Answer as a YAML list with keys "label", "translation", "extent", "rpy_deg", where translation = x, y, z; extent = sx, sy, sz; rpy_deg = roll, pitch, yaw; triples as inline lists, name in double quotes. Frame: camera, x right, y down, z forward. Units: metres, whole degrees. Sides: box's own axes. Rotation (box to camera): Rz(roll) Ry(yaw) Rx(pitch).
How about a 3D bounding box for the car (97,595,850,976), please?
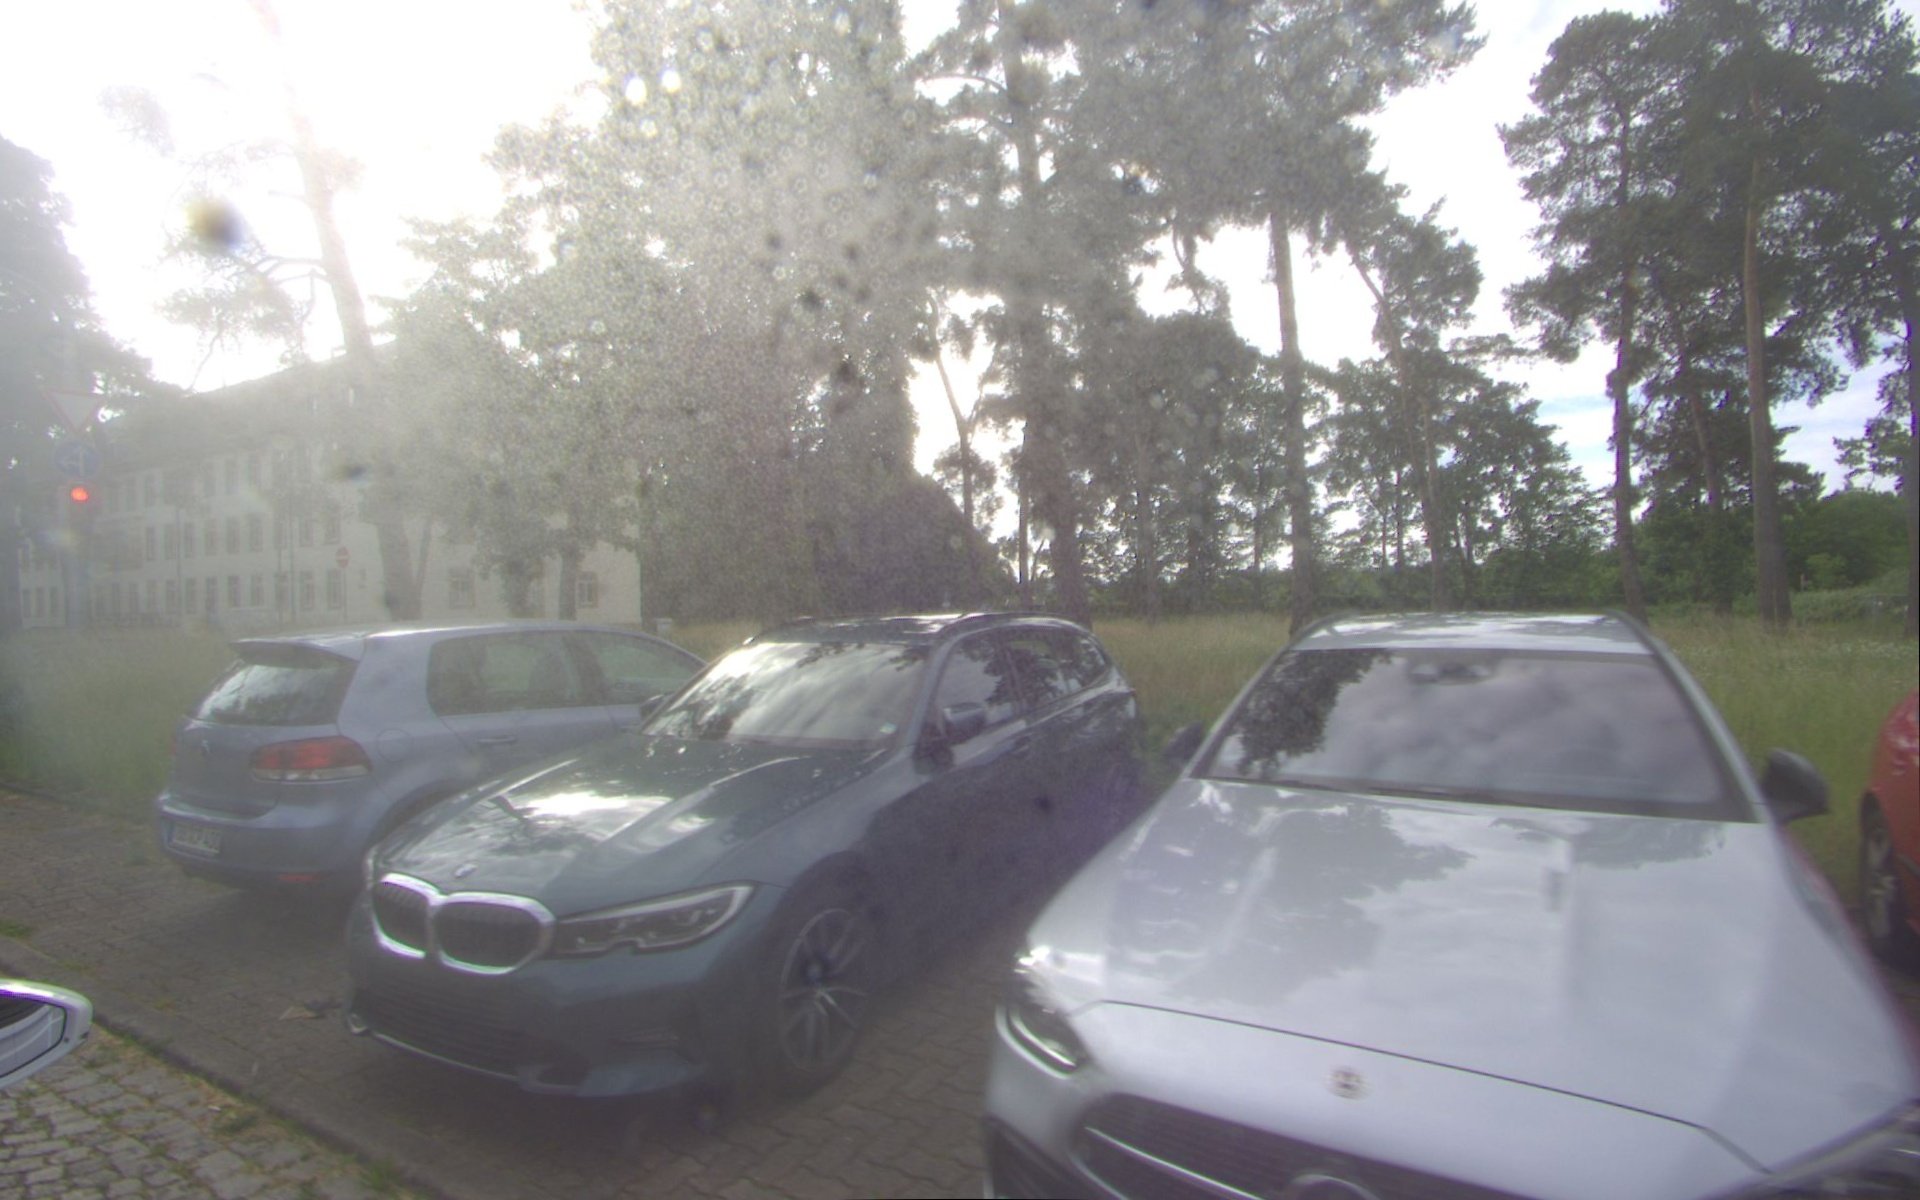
- label: "car"
  translation: [-2.568, 0.770, 6.227]
  extent: [1.619, 1.497, 3.916]
  rpy_deg: [0, 1, 33]

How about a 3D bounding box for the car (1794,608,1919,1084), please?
- label: "car"
  translation: [3.714, 0.802, 2.514]
  extent: [1.844, 1.436, 4.253]
  rpy_deg: [0, 1, 31]

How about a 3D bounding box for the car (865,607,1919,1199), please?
- label: "car"
  translation: [1.695, 0.817, 3.331]
  extent: [1.842, 1.436, 4.415]
  rpy_deg: [-1, 1, 29]

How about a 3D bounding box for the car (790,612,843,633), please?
- label: "car"
  translation: [-10.509, 1.669, 73.565]
  extent: [1.628, 1.439, 3.940]
  rpy_deg: [-1, -3, 34]

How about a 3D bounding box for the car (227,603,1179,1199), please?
- label: "car"
  translation: [-0.511, 0.808, 4.964]
  extent: [1.843, 1.436, 4.673]
  rpy_deg: [0, 1, 29]
